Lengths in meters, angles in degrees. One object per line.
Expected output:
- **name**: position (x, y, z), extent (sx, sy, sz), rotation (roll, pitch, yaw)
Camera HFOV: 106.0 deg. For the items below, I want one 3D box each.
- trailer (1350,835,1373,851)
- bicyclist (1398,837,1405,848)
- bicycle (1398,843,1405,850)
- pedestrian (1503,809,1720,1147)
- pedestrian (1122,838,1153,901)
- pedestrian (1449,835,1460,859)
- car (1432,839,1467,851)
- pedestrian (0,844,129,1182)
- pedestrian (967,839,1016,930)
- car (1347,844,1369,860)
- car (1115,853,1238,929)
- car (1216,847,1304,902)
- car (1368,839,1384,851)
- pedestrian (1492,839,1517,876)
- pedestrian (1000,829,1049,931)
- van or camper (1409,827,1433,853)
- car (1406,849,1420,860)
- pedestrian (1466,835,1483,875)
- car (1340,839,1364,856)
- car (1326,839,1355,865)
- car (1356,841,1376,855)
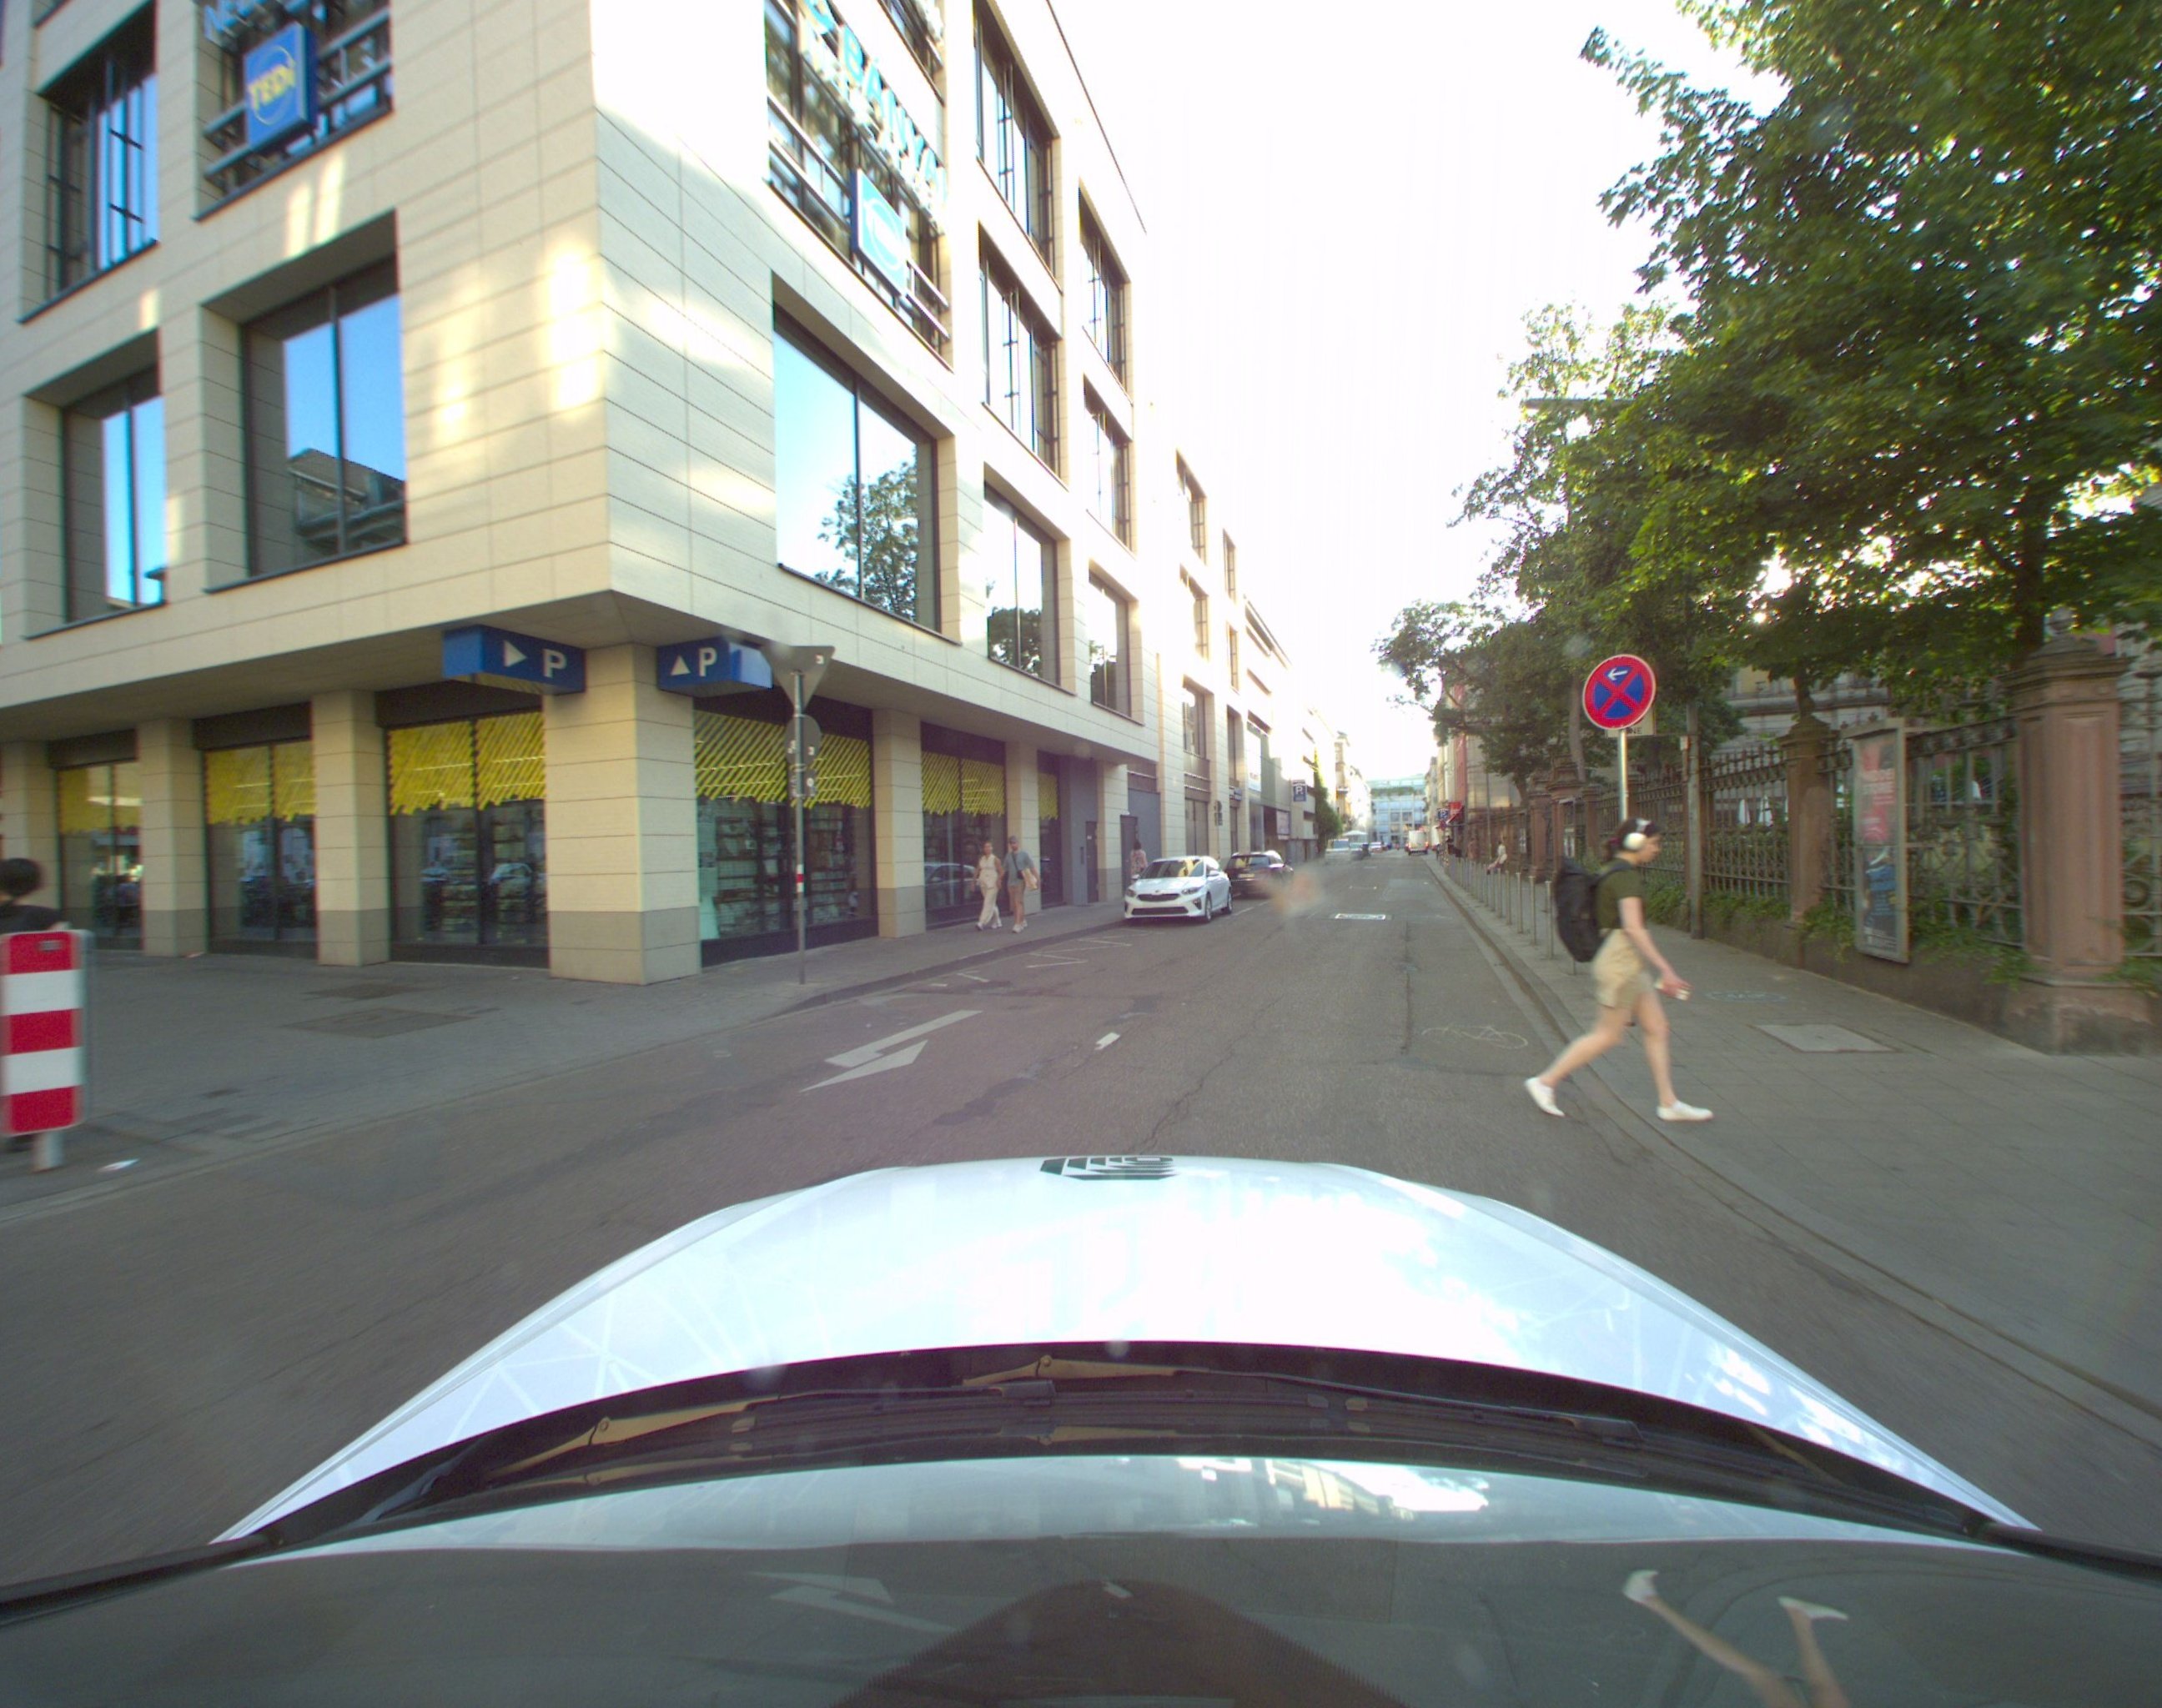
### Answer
- **trailer**: position (28.112, -1.076, 81.591), extent (1.976, 1.557, 4.021), rotation (-1, 0, 21)
- **bicyclist**: position (56.111, -2.077, 142.549), extent (0.981, 1.868, 0.712), rotation (-1, 0, 22)
- **bicycle**: position (56.135, -1.306, 142.606), extent (0.966, 1.280, 2.769), rotation (-1, 0, 22)
- **pedestrian**: position (3.025, 0.629, 4.676), extent (0.640, 1.723, 0.836), rotation (-1, 0, -34)
- **pedestrian**: position (1.614, 0.438, 23.020), extent (0.666, 1.744, 0.651), rotation (-1, 0, 22)
- **pedestrian**: position (27.503, -0.515, 59.957), extent (0.656, 1.666, 0.627), rotation (-3, 0, 22)
- **car**: position (45.341, -1.055, 100.257), extent (3.952, 1.420, 1.665), rotation (-1, 0, 22)
- **pedestrian**: position (-5.687, 0.788, 4.293), extent (0.621, 1.658, 0.863), rotation (-1, 0, -33)
- **pedestrian**: position (-1.679, 0.555, 15.310), extent (0.666, 1.675, 0.650), rotation (-1, 0, 19)
- **car**: position (26.389, -0.237, 77.567), extent (1.867, 1.453, 4.021), rotation (-1, 1, 21)
- **car**: position (2.296, 0.746, 18.454), extent (1.762, 1.453, 4.253), rotation (-1, 1, 21)
- **car**: position (6.000, 0.625, 26.877), extent (1.866, 1.598, 4.716), rotation (-1, 1, 24)
- **car**: position (42.822, -1.238, 118.044), extent (1.976, 1.684, 4.022), rotation (-1, 0, 22)
- **pedestrian**: position (17.623, 0.127, 33.895), extent (0.743, 1.499, 0.621), rotation (-3, 0, 17)
- **pedestrian**: position (-1.043, 0.470, 15.092), extent (0.666, 1.836, 0.650), rotation (-1, 0, 19)
- **van or camper**: position (38.217, -1.568, 91.543), extent (2.238, 2.607, 5.139), rotation (-6, -2, 22)
- **car**: position (51.223, 0.088, 125.734), extent (1.976, 1.684, 4.022), rotation (-1, 0, 22)
- **pedestrian**: position (16.696, 0.028, 34.561), extent (0.480, 1.658, 0.621), rotation (-3, 0, 15)
- **car**: position (24.405, -0.563, 73.215), extent (1.867, 1.453, 4.021), rotation (-1, 1, 21)
- **car**: position (20.005, -0.167, 62.662), extent (1.867, 1.912, 4.772), rotation (-1, 0, 20)
- **car**: position (30.098, -0.625, 85.842), extent (1.867, 1.453, 4.021), rotation (-1, 1, 21)
